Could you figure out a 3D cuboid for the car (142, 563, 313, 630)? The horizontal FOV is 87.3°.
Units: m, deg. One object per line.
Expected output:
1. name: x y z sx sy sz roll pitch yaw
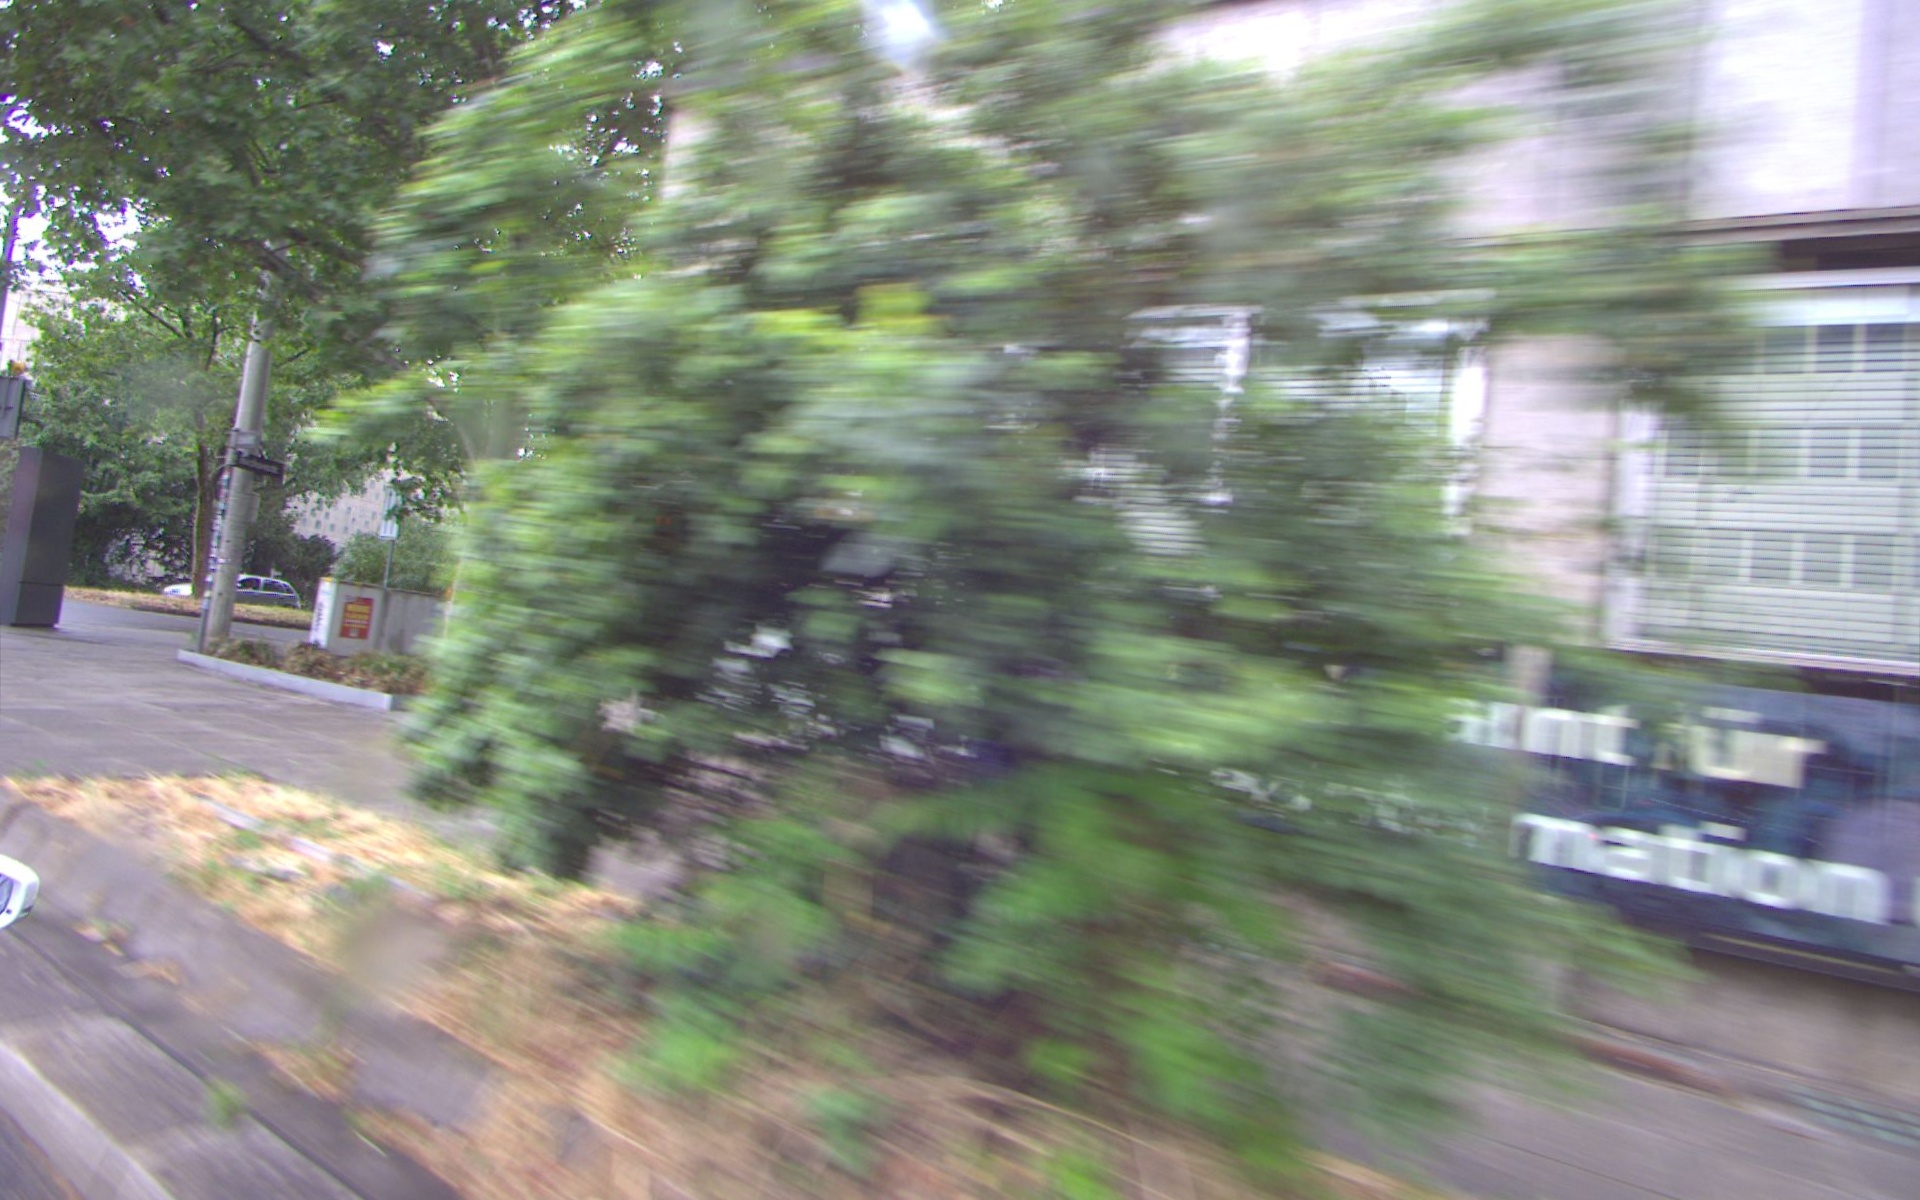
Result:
1. car: -24.128 -0.061 33.302 1.964 1.456 4.007 6 -6 25
